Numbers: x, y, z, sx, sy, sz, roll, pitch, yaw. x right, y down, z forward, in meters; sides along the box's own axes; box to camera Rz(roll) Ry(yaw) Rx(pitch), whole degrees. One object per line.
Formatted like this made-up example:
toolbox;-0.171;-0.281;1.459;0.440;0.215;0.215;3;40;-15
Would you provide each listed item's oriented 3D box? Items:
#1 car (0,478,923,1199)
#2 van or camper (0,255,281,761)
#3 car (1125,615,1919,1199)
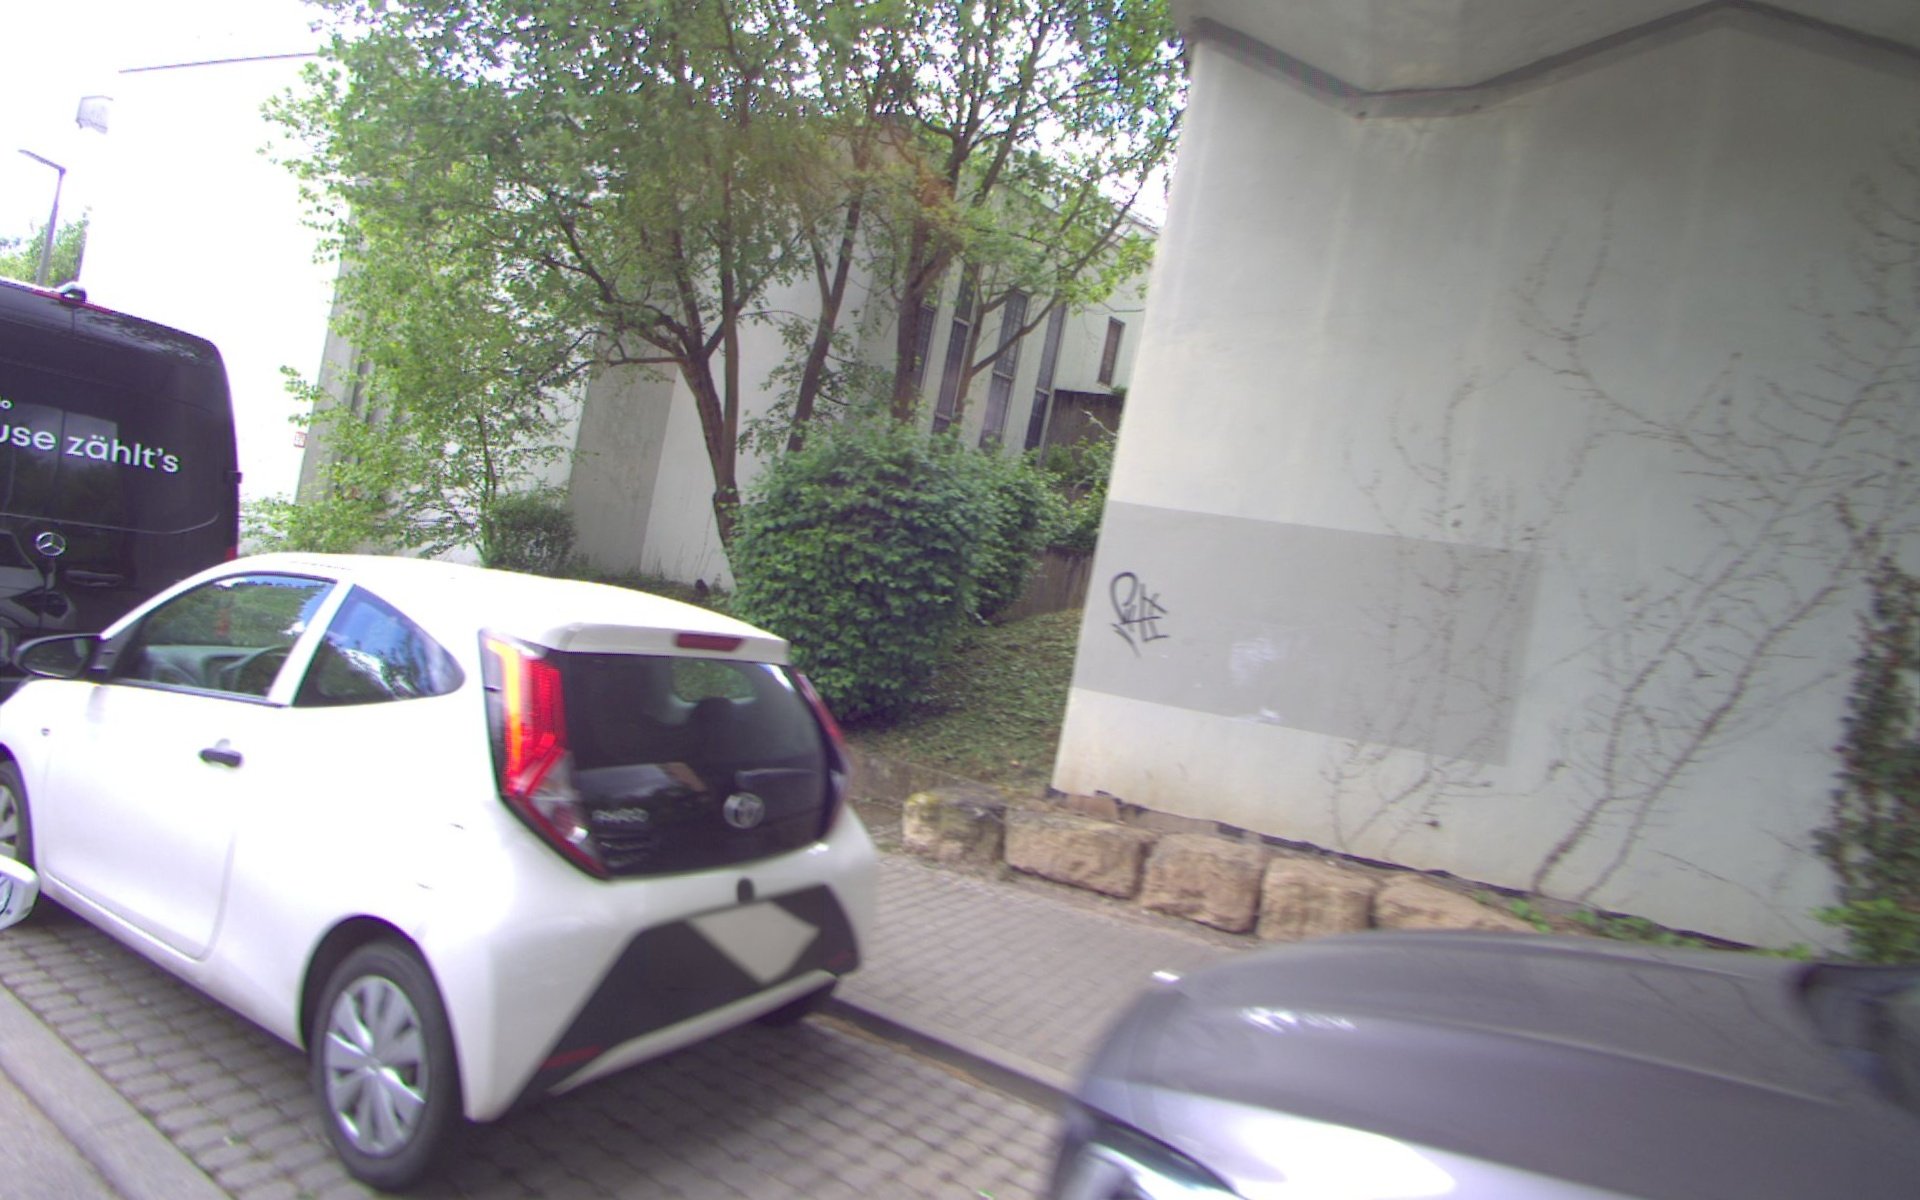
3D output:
car;-2.013;0.541;3.581;3.274;1.514;1.566;8;-1;30
van or camper;-7.053;-0.701;6.674;5.380;2.554;1.996;7;0;32
car;2.302;1.072;0.759;4.050;1.514;1.703;7;-2;31
